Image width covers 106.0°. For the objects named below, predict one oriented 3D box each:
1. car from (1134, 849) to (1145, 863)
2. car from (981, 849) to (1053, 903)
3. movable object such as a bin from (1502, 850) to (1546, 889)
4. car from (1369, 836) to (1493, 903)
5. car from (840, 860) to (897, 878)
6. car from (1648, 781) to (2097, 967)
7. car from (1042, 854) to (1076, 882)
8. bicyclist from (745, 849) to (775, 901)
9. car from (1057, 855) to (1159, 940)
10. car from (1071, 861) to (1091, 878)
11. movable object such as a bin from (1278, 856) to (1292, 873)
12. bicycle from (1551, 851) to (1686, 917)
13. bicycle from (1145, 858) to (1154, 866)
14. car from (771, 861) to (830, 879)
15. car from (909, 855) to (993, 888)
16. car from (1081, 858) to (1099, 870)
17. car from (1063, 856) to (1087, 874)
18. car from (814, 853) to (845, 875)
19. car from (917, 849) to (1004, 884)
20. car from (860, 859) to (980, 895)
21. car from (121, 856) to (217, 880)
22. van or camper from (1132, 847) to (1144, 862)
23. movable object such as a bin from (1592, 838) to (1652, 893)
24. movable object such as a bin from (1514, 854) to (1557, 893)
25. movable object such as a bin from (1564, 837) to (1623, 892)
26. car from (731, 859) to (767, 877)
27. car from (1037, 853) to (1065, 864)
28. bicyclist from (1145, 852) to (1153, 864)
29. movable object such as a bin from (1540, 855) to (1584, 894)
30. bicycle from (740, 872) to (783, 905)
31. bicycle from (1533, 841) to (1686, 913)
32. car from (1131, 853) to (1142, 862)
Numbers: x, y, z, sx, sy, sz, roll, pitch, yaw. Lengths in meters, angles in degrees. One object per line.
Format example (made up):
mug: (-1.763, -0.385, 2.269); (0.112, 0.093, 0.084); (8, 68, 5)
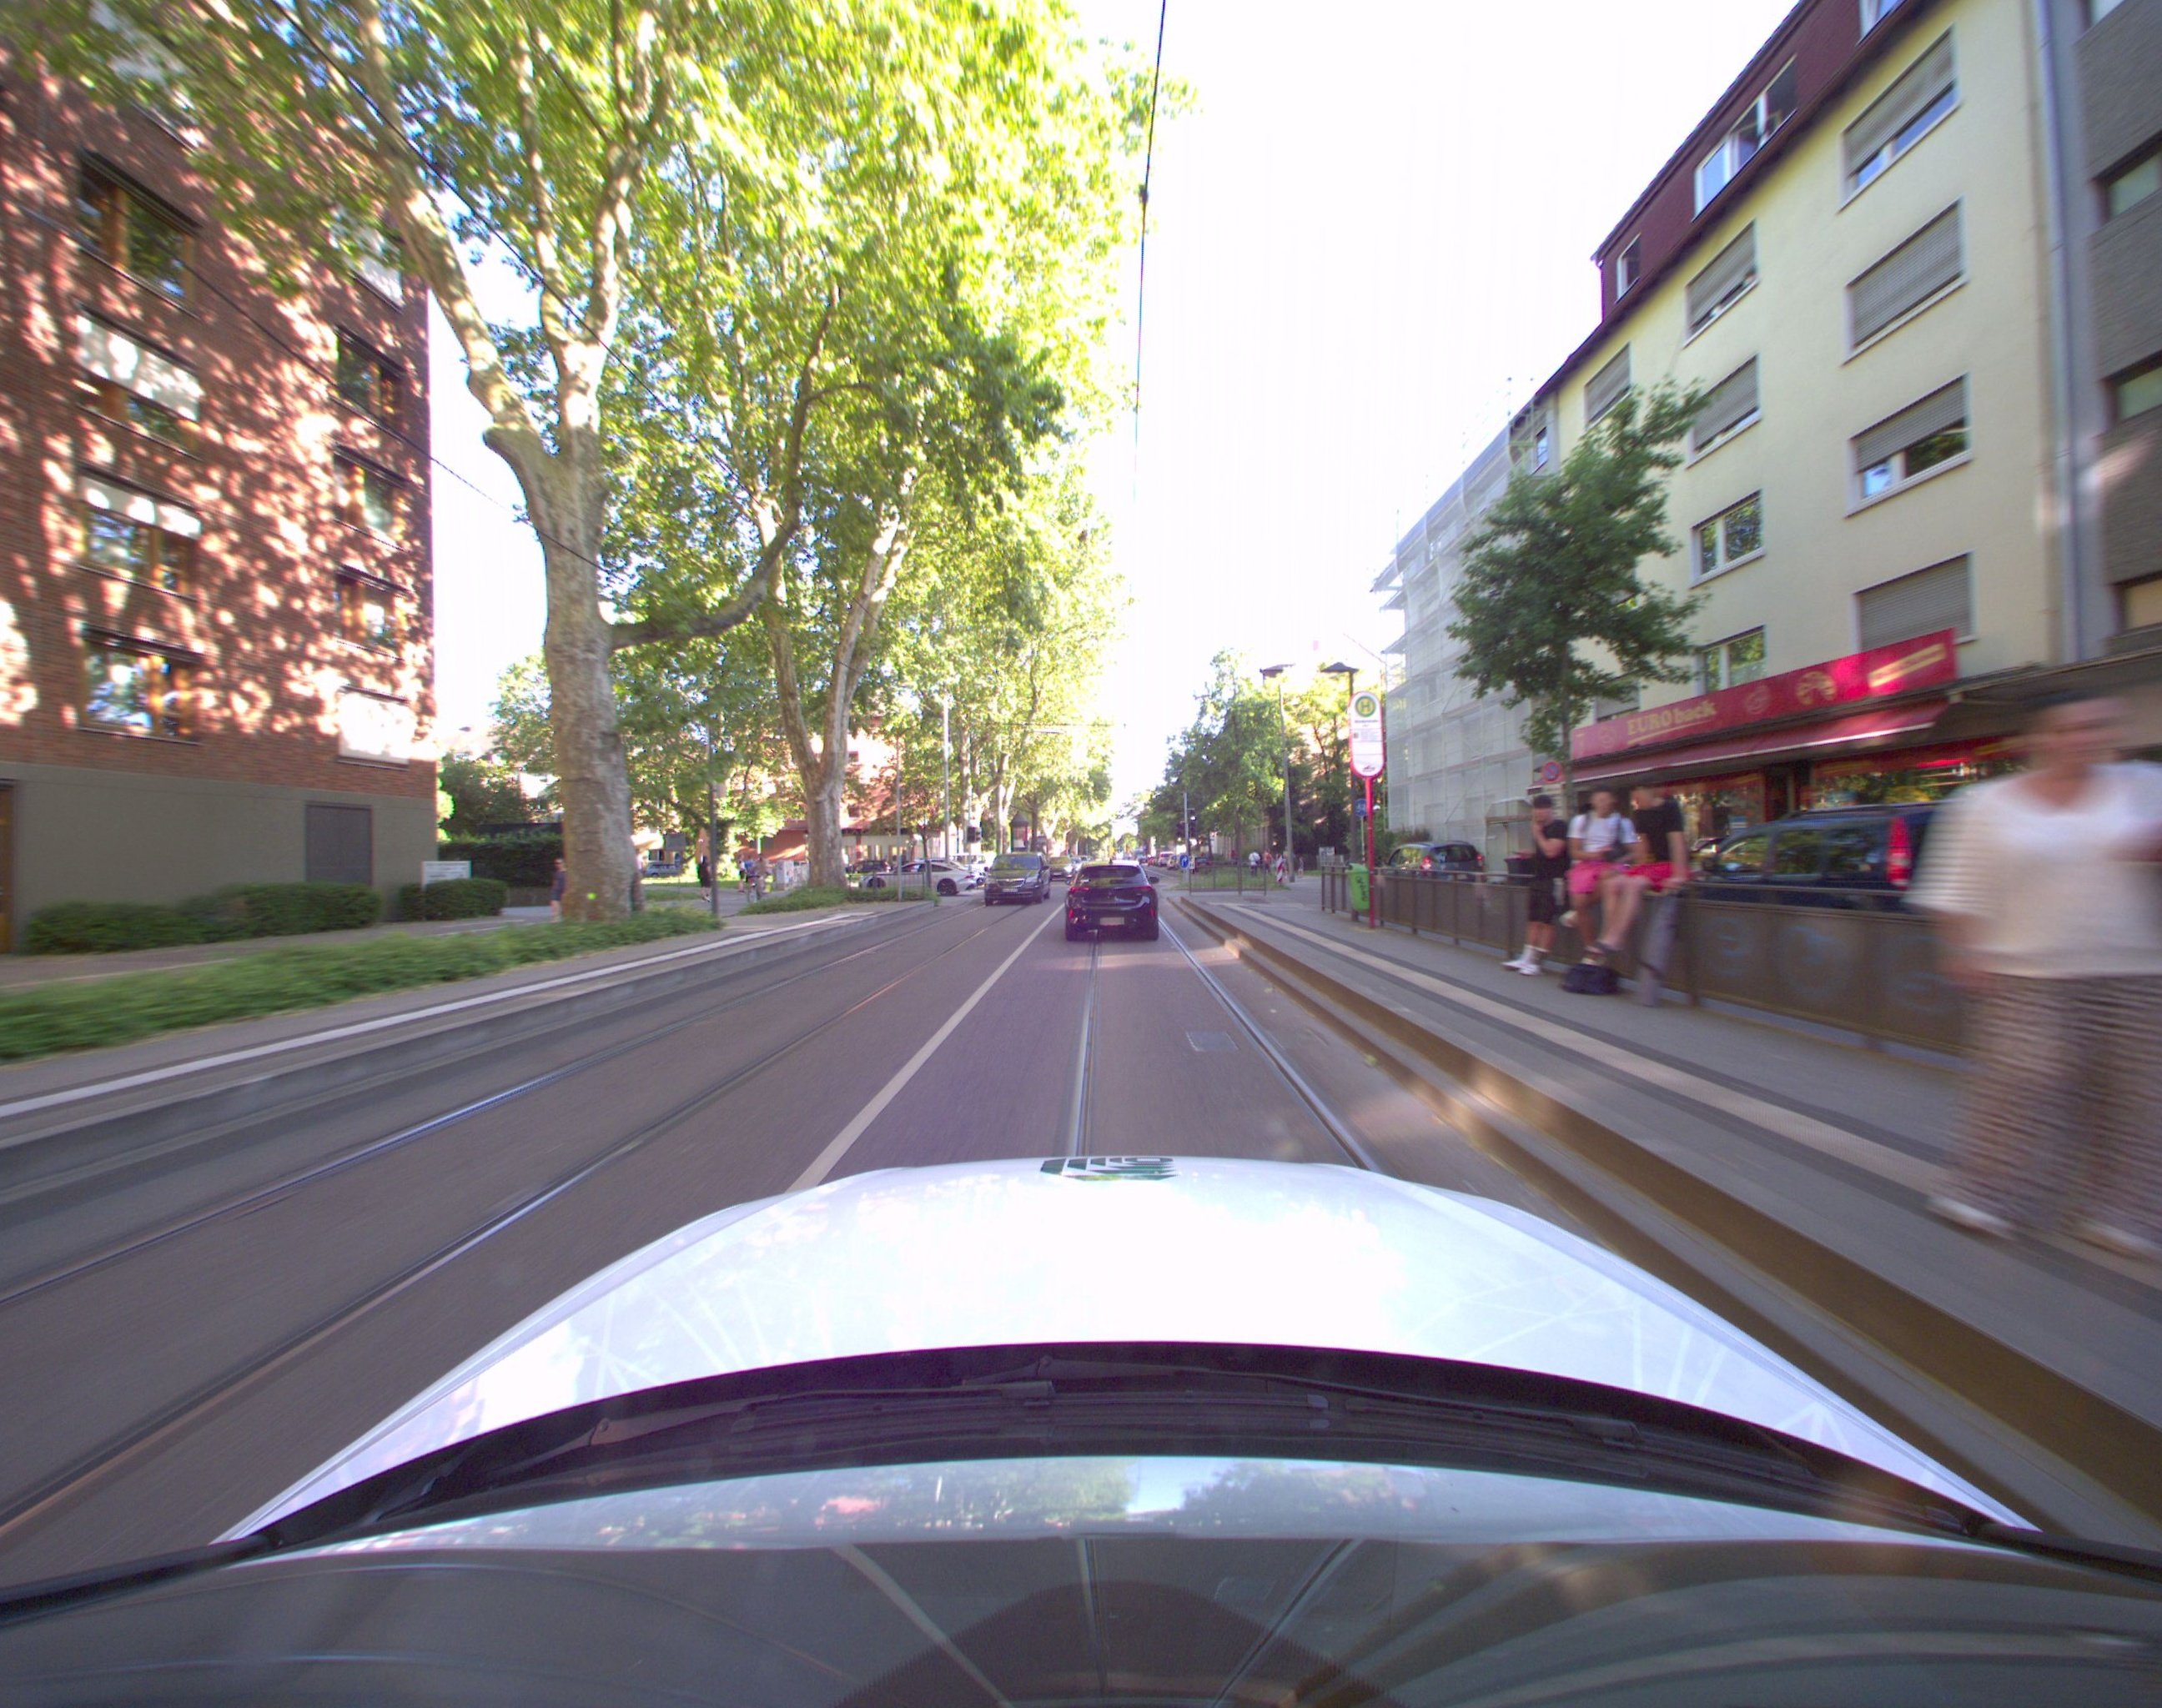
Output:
car: (12.298, 0.403, 171.419); (2.077, 2.772, 4.699); (-2, 0, 2)
car: (-2.125, 0.726, 28.503); (1.986, 1.716, 5.144); (0, 0, 2)
movable object such as a bin: (13.125, 0.446, 24.137); (0.878, 1.110, 0.697); (-3, -1, -1)
car: (9.721, 0.391, 23.027); (1.755, 1.621, 4.445); (-3, 0, 3)
car: (-18.457, 1.321, 70.789); (4.518, 1.489, 1.857); (0, -1, -5)
car: (9.933, 0.215, 10.833); (1.985, 1.896, 4.198); (-3, 0, 3)
car: (-1.390, 0.885, 52.636); (1.901, 1.638, 4.322); (-2, -1, 2)
bicyclist: (-11.248, 0.727, 28.568); (0.697, 1.788, 0.839); (0, -1, 3)
car: (0.537, 0.766, 16.037); (1.756, 1.460, 3.952); (0, 0, 2)
car: (-0.013, 1.551, 83.029); (1.809, 1.568, 4.118); (-3, -1, 2)
movable object such as a bin: (13.645, 0.679, 54.473); (0.664, 1.126, 0.955); (0, -1, -6)
bicycle: (10.784, 0.596, 16.451); (0.686, 1.209, 2.192); (-3, -1, -26)
bicycle: (8.764, 0.963, 104.347); (0.964, 0.999, 2.583); (0, 0, 0)
car: (-24.099, 1.369, 70.106); (4.463, 1.450, 1.820); (0, -1, -7)
car: (-6.846, 0.917, 43.120); (4.126, 1.646, 1.902); (0, -1, 0)
car: (1.079, 1.266, 100.609); (1.660, 1.444, 3.463); (0, 0, -8)
car: (-0.474, 0.886, 66.582); (1.768, 1.461, 4.206); (0, 0, 2)
car: (-23.989, 0.931, 77.768); (1.992, 2.003, 4.907); (0, 0, -7)
car: (-6.677, 0.689, 45.467); (4.556, 1.834, 1.938); (0, -1, 0)
car: (-6.792, 0.961, 34.799); (4.753, 1.460, 1.953); (0, -1, -3)
car: (-63.649, 0.966, 56.927); (1.881, 1.618, 4.113); (0, 0, 7)
van or camper: (12.466, 0.168, 177.986); (2.246, 3.216, 5.533); (-2, -1, 2)
movable object such as a bin: (13.889, 0.296, 20.927); (0.920, 1.350, 0.824); (-3, -1, -1)
movable object such as a bin: (13.758, 0.582, 24.652); (0.878, 1.110, 0.697); (-3, -1, -1)
movable object such as a bin: (13.702, 0.285, 21.809); (0.996, 1.397, 0.824); (-3, -1, -1)
car: (-31.795, 1.323, 78.123); (1.942, 1.618, 4.475); (0, 0, -6)
car: (-4.695, 0.678, 128.340); (4.287, 1.607, 1.925); (-1, 0, -1)
bicyclist: (8.755, 0.532, 104.323); (0.955, 1.499, 1.094); (0, -1, 0)
movable object such as a bin: (14.503, 0.606, 24.554); (0.878, 1.110, 0.697); (-3, -1, -1)
bicycle: (-11.232, 1.199, 28.669); (0.712, 1.063, 1.841); (0, 0, 3)
bicycle: (10.010, 0.431, 15.495); (2.196, 1.209, 1.030); (-3, -1, 1)
car: (12.602, 0.830, 185.180); (2.246, 1.840, 5.533); (-2, 0, 2)
